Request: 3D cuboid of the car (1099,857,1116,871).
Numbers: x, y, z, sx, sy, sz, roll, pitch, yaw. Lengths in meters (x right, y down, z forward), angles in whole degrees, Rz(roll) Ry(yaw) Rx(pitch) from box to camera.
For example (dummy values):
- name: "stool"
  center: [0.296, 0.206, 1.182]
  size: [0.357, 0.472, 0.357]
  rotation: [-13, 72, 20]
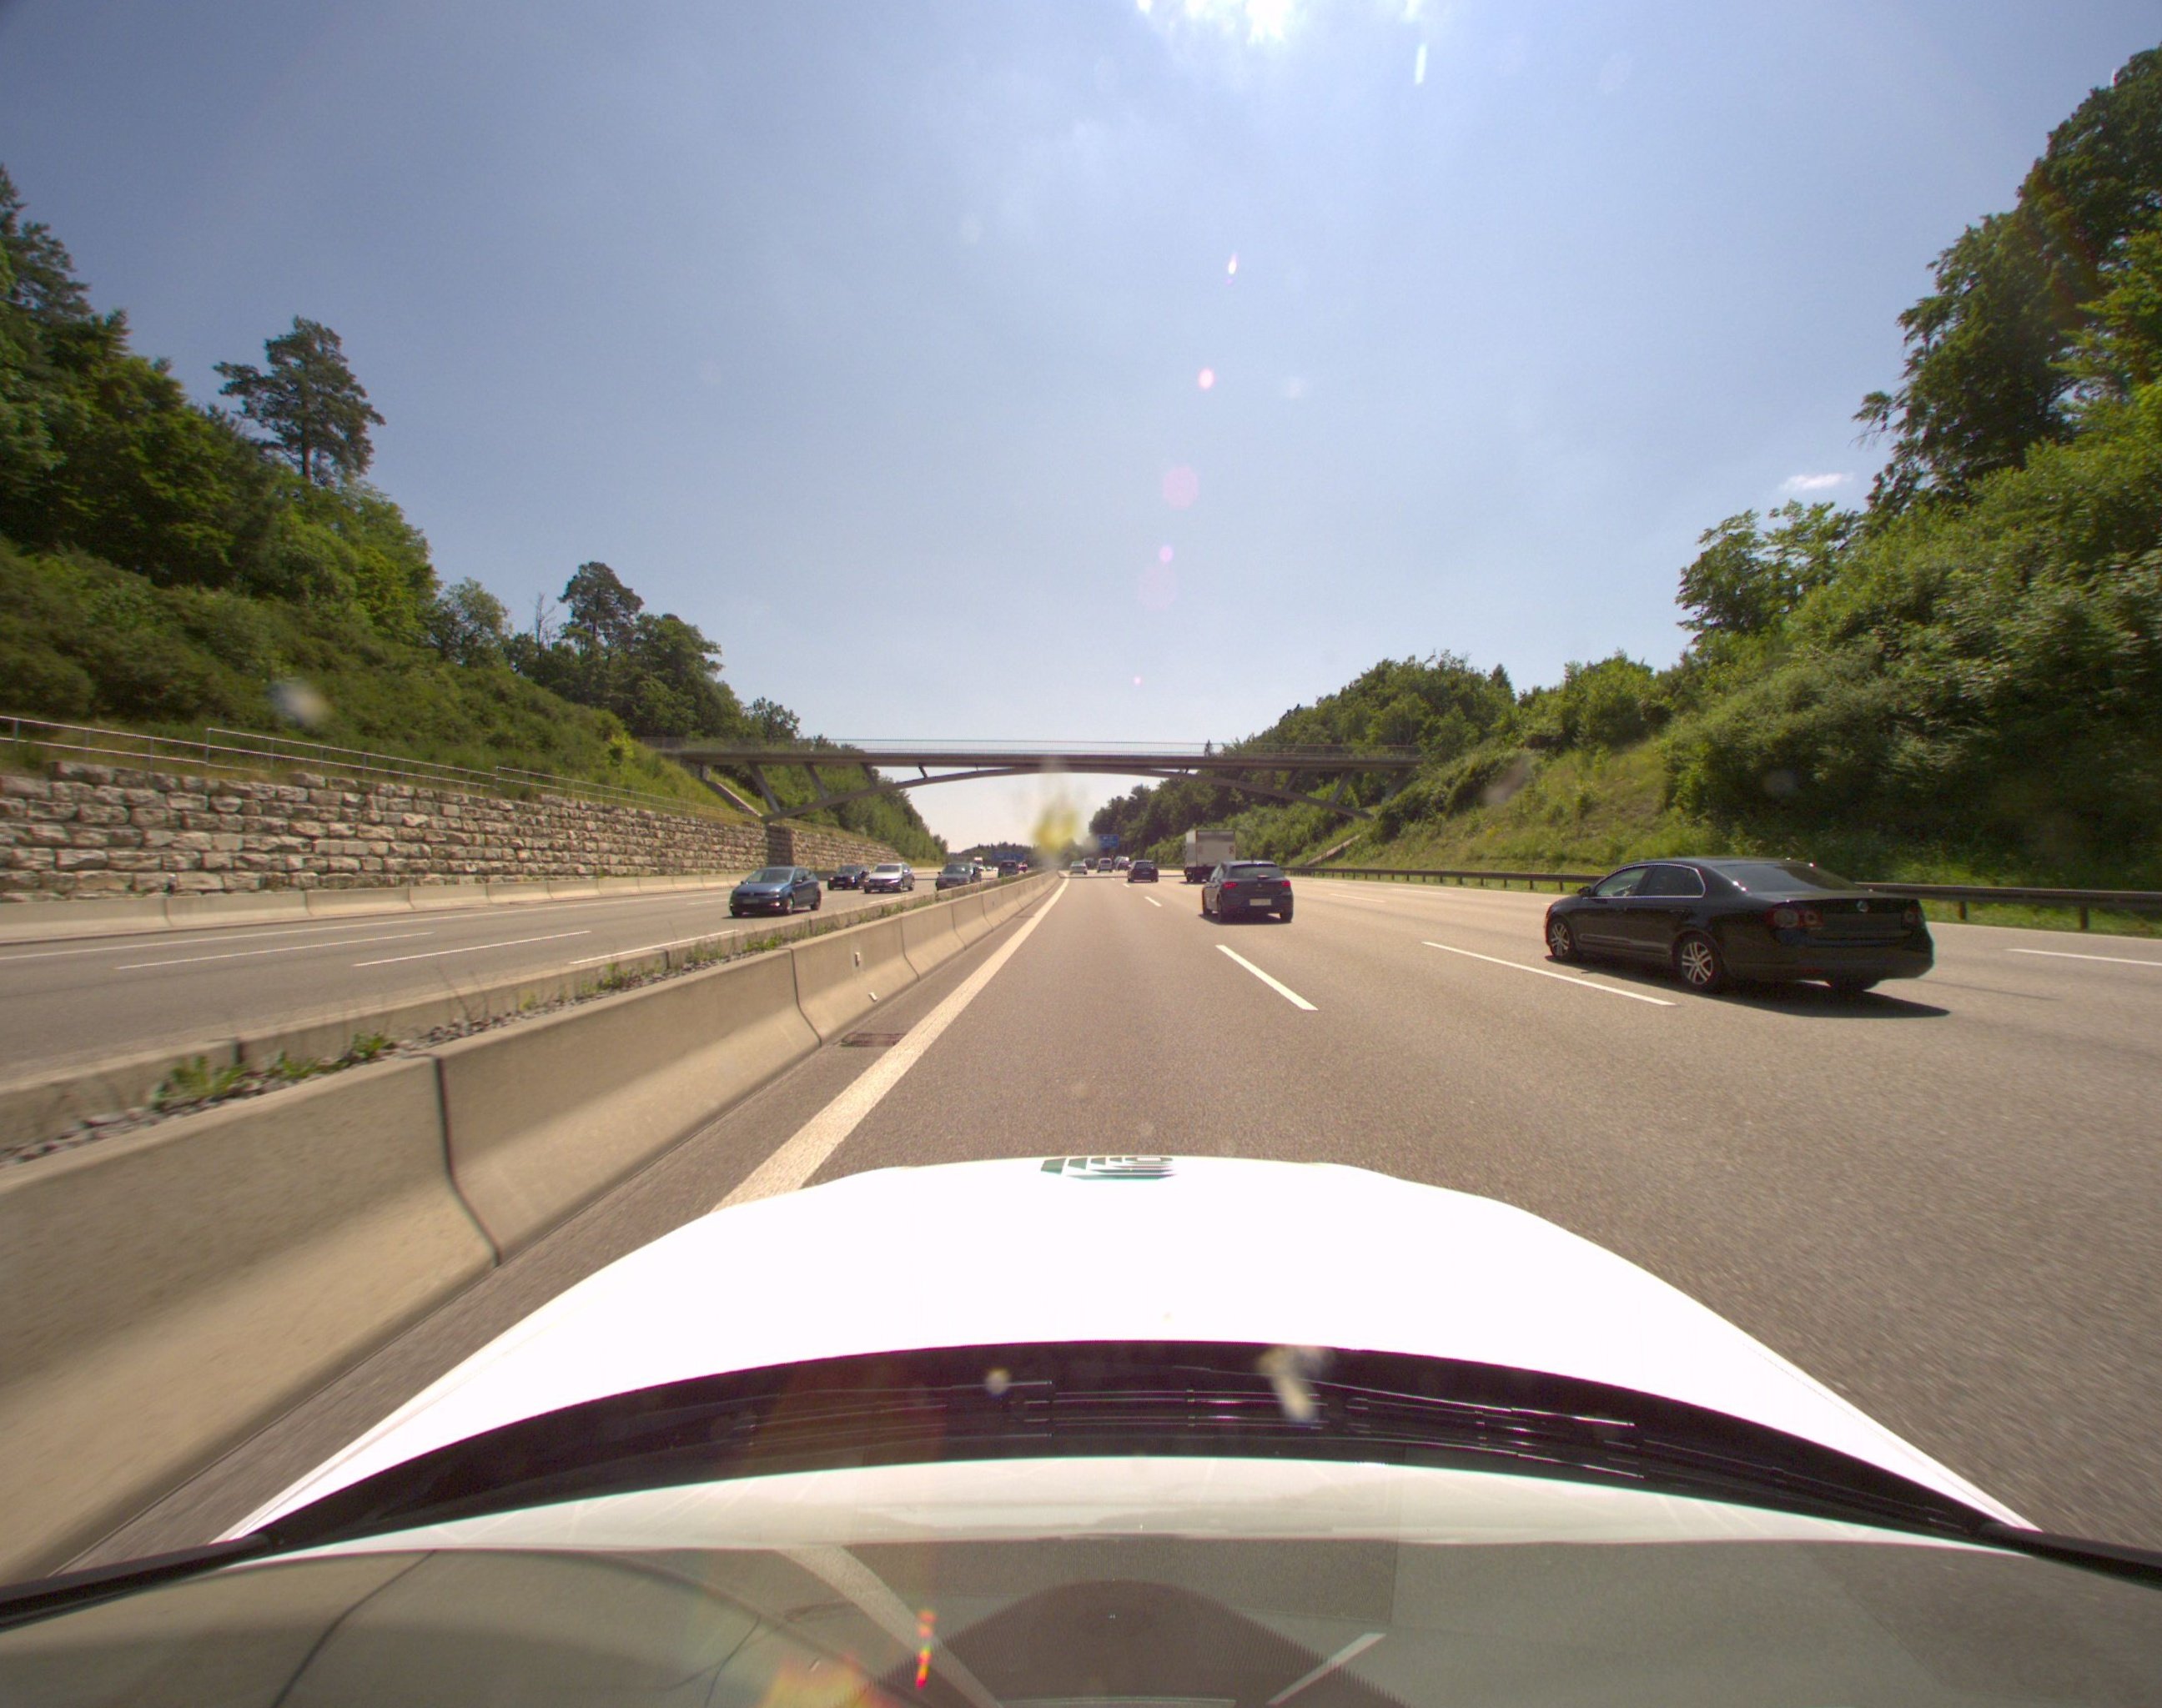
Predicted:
- name: "car"
  center: [3.435, 1.300, 106.315]
  size: [2.096, 1.744, 4.687]
  rotation: [-1, 0, 0]

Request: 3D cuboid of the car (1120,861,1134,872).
- name: "car"
  center: [7.060, 1.951, 126.327]
  size: [1.986, 1.593, 4.000]
  rotation: [1, -1, 1]

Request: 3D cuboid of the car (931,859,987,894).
- name: "car"
  center: [-5.927, 1.050, 39.930]
  size: [1.986, 1.618, 4.001]
  rotation: [-1, 0, 2]

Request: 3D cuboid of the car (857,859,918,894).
- name: "car"
  center: [-9.780, 1.107, 41.449]
  size: [1.986, 1.618, 4.001]
  rotation: [-1, 0, 2]

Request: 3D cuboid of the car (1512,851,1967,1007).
- name: "car"
  center: [7.343, 0.685, 9.926]
  size: [1.659, 1.408, 4.904]
  rotation: [-1, 0, 1]

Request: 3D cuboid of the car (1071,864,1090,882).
- name: "car"
  center: [-0.042, 2.105, 90.095]
  size: [2.005, 1.846, 4.000]
  rotation: [0, -3, 1]

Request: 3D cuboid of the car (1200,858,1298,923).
- name: "car"
  center: [4.041, 0.819, 20.177]
  size: [1.702, 1.433, 4.001]
  rotation: [0, 0, 1]

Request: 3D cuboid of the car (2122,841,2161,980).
- name: "car"
  center: [11.983, 0.571, 6.619]
  size: [1.539, 1.444, 4.341]
  rotation: [-1, 0, 1]

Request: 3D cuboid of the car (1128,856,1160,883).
- name: "car"
  center: [4.144, 0.985, 53.673]
  size: [1.984, 1.634, 4.766]
  rotation: [-1, 0, 5]

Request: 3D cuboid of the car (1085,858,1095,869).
- name: "car"
  center: [1.954, 2.049, 177.282]
  size: [2.257, 2.371, 4.701]
  rotation: [-1, -1, 1]

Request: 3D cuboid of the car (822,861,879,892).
- name: "car"
  center: [-13.055, 1.251, 46.299]
  size: [1.986, 1.618, 4.001]
  rotation: [-1, 0, 2]

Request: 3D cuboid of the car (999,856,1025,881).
- name: "car"
  center: [-6.045, 1.303, 71.546]
  size: [1.988, 2.014, 3.996]
  rotation: [1, -2, -2]

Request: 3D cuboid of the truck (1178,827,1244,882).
- name: "truck"
  center: [8.022, 0.040, 51.263]
  size: [2.976, 3.167, 7.574]
  rotation: [-1, 0, 0]

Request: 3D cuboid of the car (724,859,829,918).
- name: "car"
  center: [-9.155, 0.972, 24.827]
  size: [1.648, 1.550, 4.000]
  rotation: [1, 1, 0]
